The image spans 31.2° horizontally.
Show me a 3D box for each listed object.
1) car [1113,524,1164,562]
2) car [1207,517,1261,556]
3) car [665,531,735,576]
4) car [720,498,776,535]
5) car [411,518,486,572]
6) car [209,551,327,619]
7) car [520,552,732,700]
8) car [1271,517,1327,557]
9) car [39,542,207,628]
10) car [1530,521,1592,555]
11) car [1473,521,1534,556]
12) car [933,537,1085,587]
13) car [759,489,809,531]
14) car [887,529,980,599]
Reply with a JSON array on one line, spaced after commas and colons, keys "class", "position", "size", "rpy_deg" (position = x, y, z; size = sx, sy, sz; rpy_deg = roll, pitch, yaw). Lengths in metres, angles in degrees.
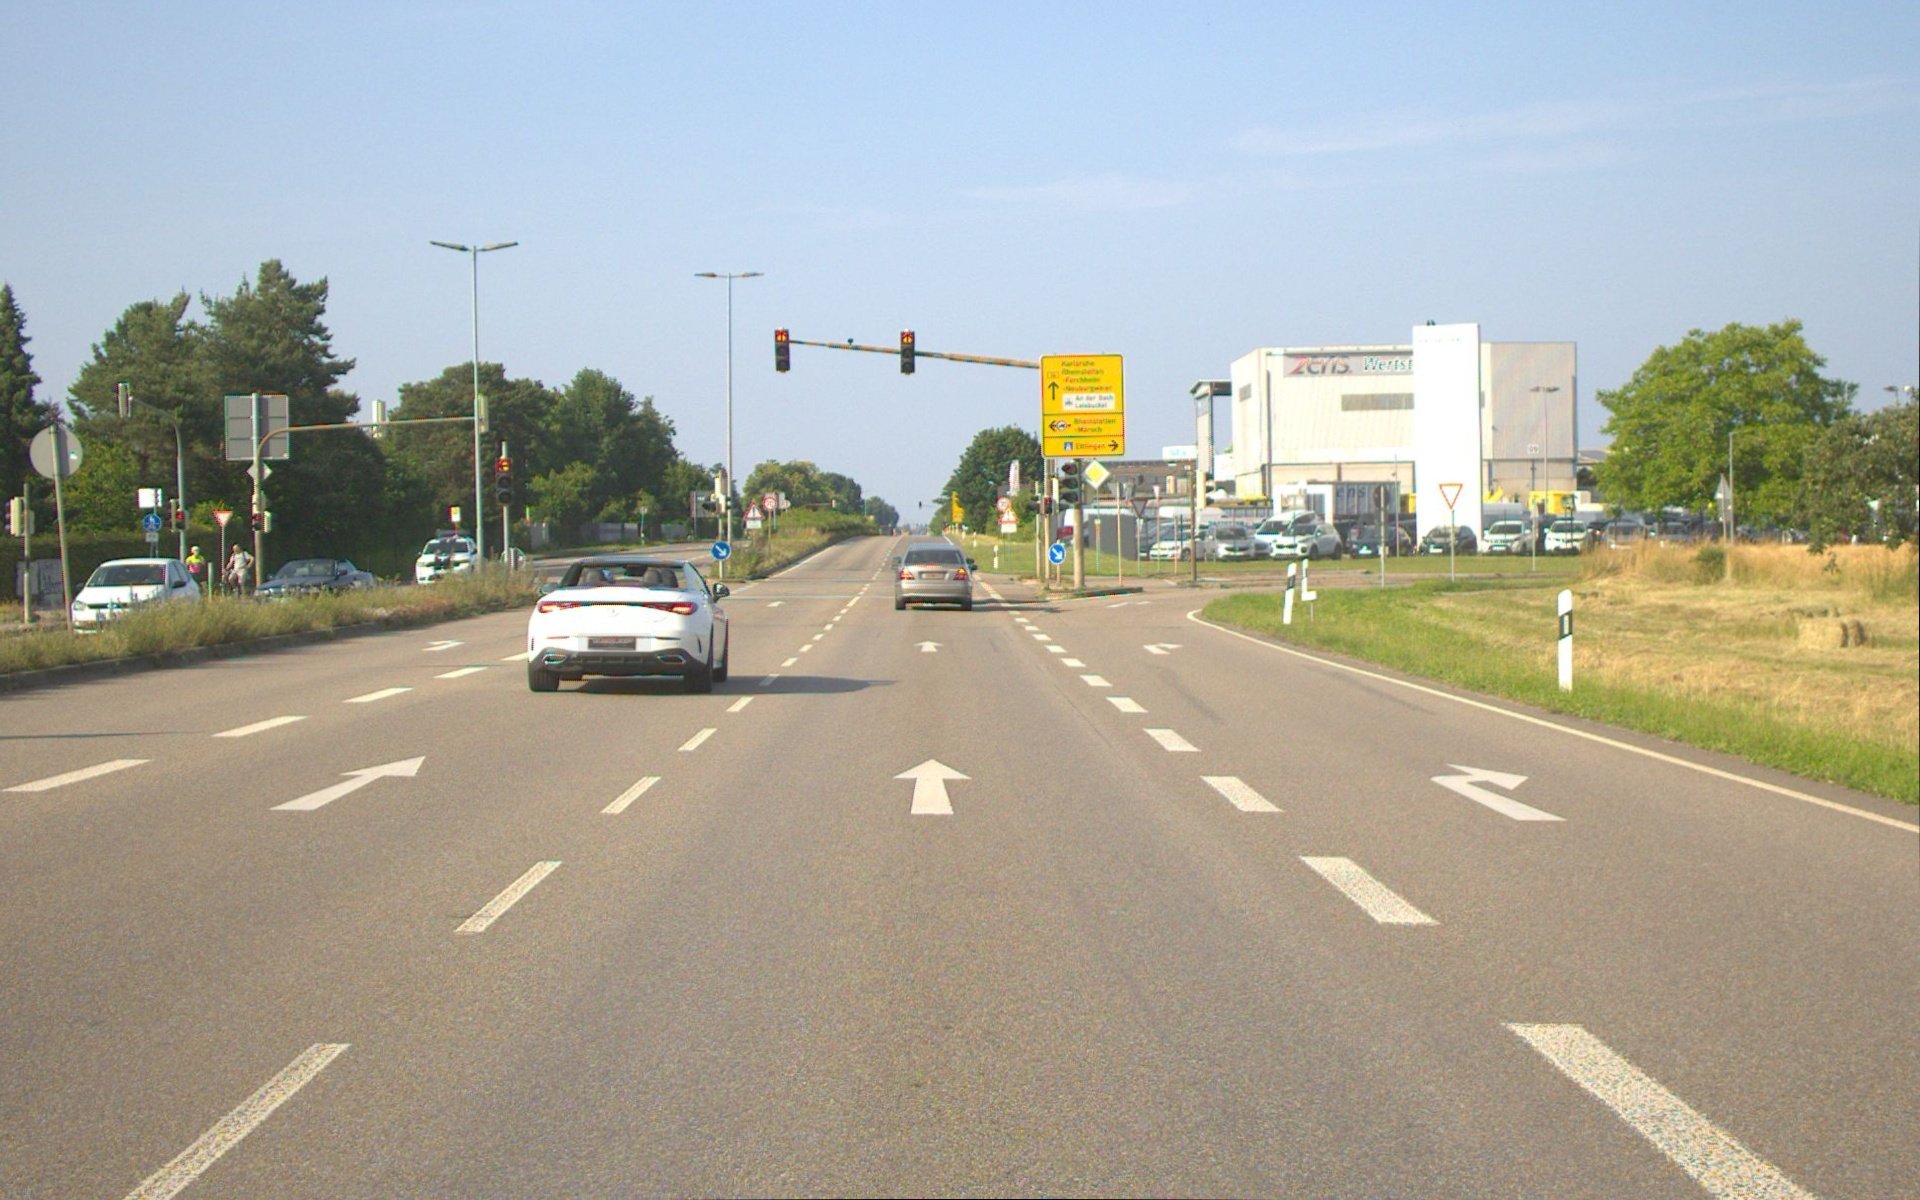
[{"class": "car", "position": [7.554, -2.433, 145.737], "size": [1.993, 1.590, 4.000], "rpy_deg": [1, 1, 1]}, {"class": "car", "position": [11.616, -2.713, 145.748], "size": [1.993, 1.612, 4.000], "rpy_deg": [1, 1, 1]}, {"class": "car", "position": [-8.417, -1.520, 111.485], "size": [1.947, 1.403, 4.000], "rpy_deg": [1, 1, 0]}, {"class": "car", "position": [-8.363, -3.308, 136.151], "size": [1.947, 1.403, 4.000], "rpy_deg": [1, 1, 0]}, {"class": "car", "position": [-17.590, -1.909, 118.413], "size": [1.947, 1.794, 4.000], "rpy_deg": [1, 1, 0]}, {"class": "car", "position": [-15.879, -0.359, 79.089], "size": [1.993, 1.481, 4.000], "rpy_deg": [1, 1, -1]}, {"class": "car", "position": [-3.445, 0.229, 36.048], "size": [1.909, 1.417, 4.000], "rpy_deg": [1, 1, -1]}, {"class": "car", "position": [14.318, -2.686, 145.333], "size": [1.993, 1.638, 4.000], "rpy_deg": [1, 1, 1]}, {"class": "car", "position": [-14.428, -0.279, 59.468], "size": [1.993, 1.393, 4.000], "rpy_deg": [1, 1, -1]}, {"class": "car", "position": [25.559, -2.641, 146.320], "size": [1.993, 1.393, 4.000], "rpy_deg": [1, 1, 1]}, {"class": "car", "position": [23.059, -2.630, 145.912], "size": [1.993, 1.437, 4.000], "rpy_deg": [1, 1, 1]}, {"class": "car", "position": [1.419, -1.120, 100.234], "size": [3.986, 1.403, 1.955], "rpy_deg": [0, 1, -20]}, {"class": "car", "position": [-7.691, -3.932, 150.353], "size": [1.947, 1.766, 4.000], "rpy_deg": [1, 1, 0]}, {"class": "car", "position": [-0.609, -0.824, 76.486], "size": [1.993, 1.481, 4.000], "rpy_deg": [1, 1, -1]}]
